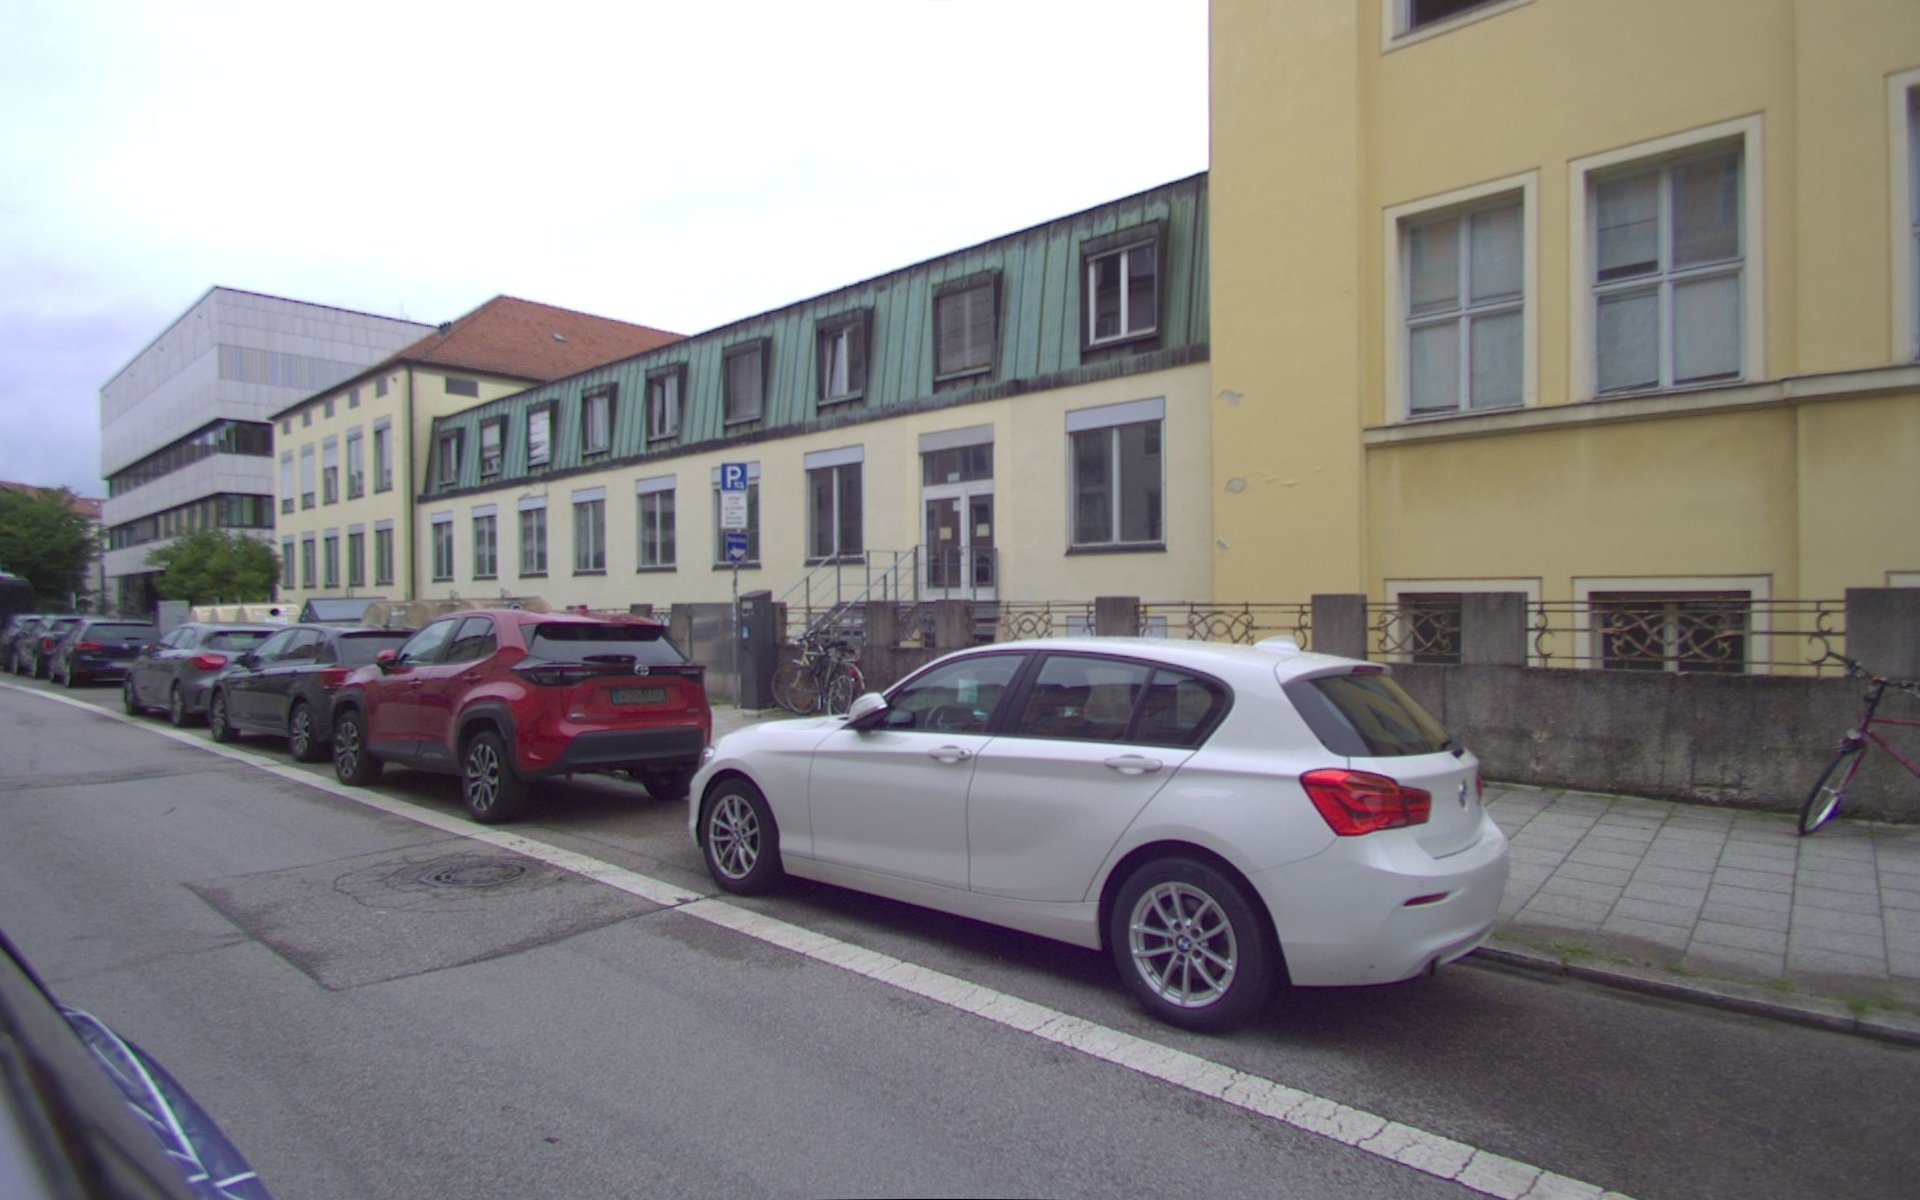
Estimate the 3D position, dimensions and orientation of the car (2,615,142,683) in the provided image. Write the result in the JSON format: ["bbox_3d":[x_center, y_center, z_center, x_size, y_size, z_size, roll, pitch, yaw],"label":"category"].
[{"bbox_3d":[-22.589,1.256,25.693,4.347,1.599,1.895,-2,-5,39],"label":"car"}]

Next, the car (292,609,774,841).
[{"bbox_3d":[-3.854,0.865,8.767,4.525,1.493,1.938,0,-3,39],"label":"car"}]

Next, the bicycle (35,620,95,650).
[{"bbox_3d":[-37.451,1.445,42.364,0.519,1.160,1.793,-1,0,39],"label":"bicycle"}]

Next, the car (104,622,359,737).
[{"bbox_3d":[-11.062,1.095,15.248,4.612,1.429,1.994,0,-3,40],"label":"car"}]

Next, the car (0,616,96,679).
[{"bbox_3d":[-26.077,1.324,28.541,4.345,1.649,1.861,-1,-4,40],"label":"car"}]

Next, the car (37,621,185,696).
[{"bbox_3d":[-18.991,1.262,22.573,4.530,1.493,1.893,-1,-4,42],"label":"car"}]

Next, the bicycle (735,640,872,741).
[{"bbox_3d":[-2.050,1.126,13.043,2.105,1.156,0.529,-1,0,42],"label":"bicycle"}]

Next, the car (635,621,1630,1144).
[{"bbox_3d":[0.477,0.876,5.078,4.661,1.440,1.775,0,-4,40],"label":"car"}]

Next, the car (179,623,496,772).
[{"bbox_3d":[-7.370,1.011,11.817,4.349,1.416,1.732,-1,-3,38],"label":"car"}]

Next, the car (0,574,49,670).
[{"bbox_3d":[-31.527,0.682,32.231,6.180,2.875,2.194,-1,-3,34],"label":"car"}]

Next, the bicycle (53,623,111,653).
[{"bbox_3d":[-36.034,1.535,41.557,1.789,1.160,0.520,-1,0,-42],"label":"bicycle"}]

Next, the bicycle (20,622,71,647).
[{"bbox_3d":[-45.014,1.670,49.824,0.519,1.160,1.793,-1,0,39],"label":"bicycle"}]

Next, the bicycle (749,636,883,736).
[{"bbox_3d":[-1.946,1.097,13.427,2.105,1.194,0.529,-1,0,42],"label":"bicycle"}]

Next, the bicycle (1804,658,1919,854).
[{"bbox_3d":[5.933,0.902,5.782,1.635,1.070,0.569,-1,0,34],"label":"bicycle"}]
